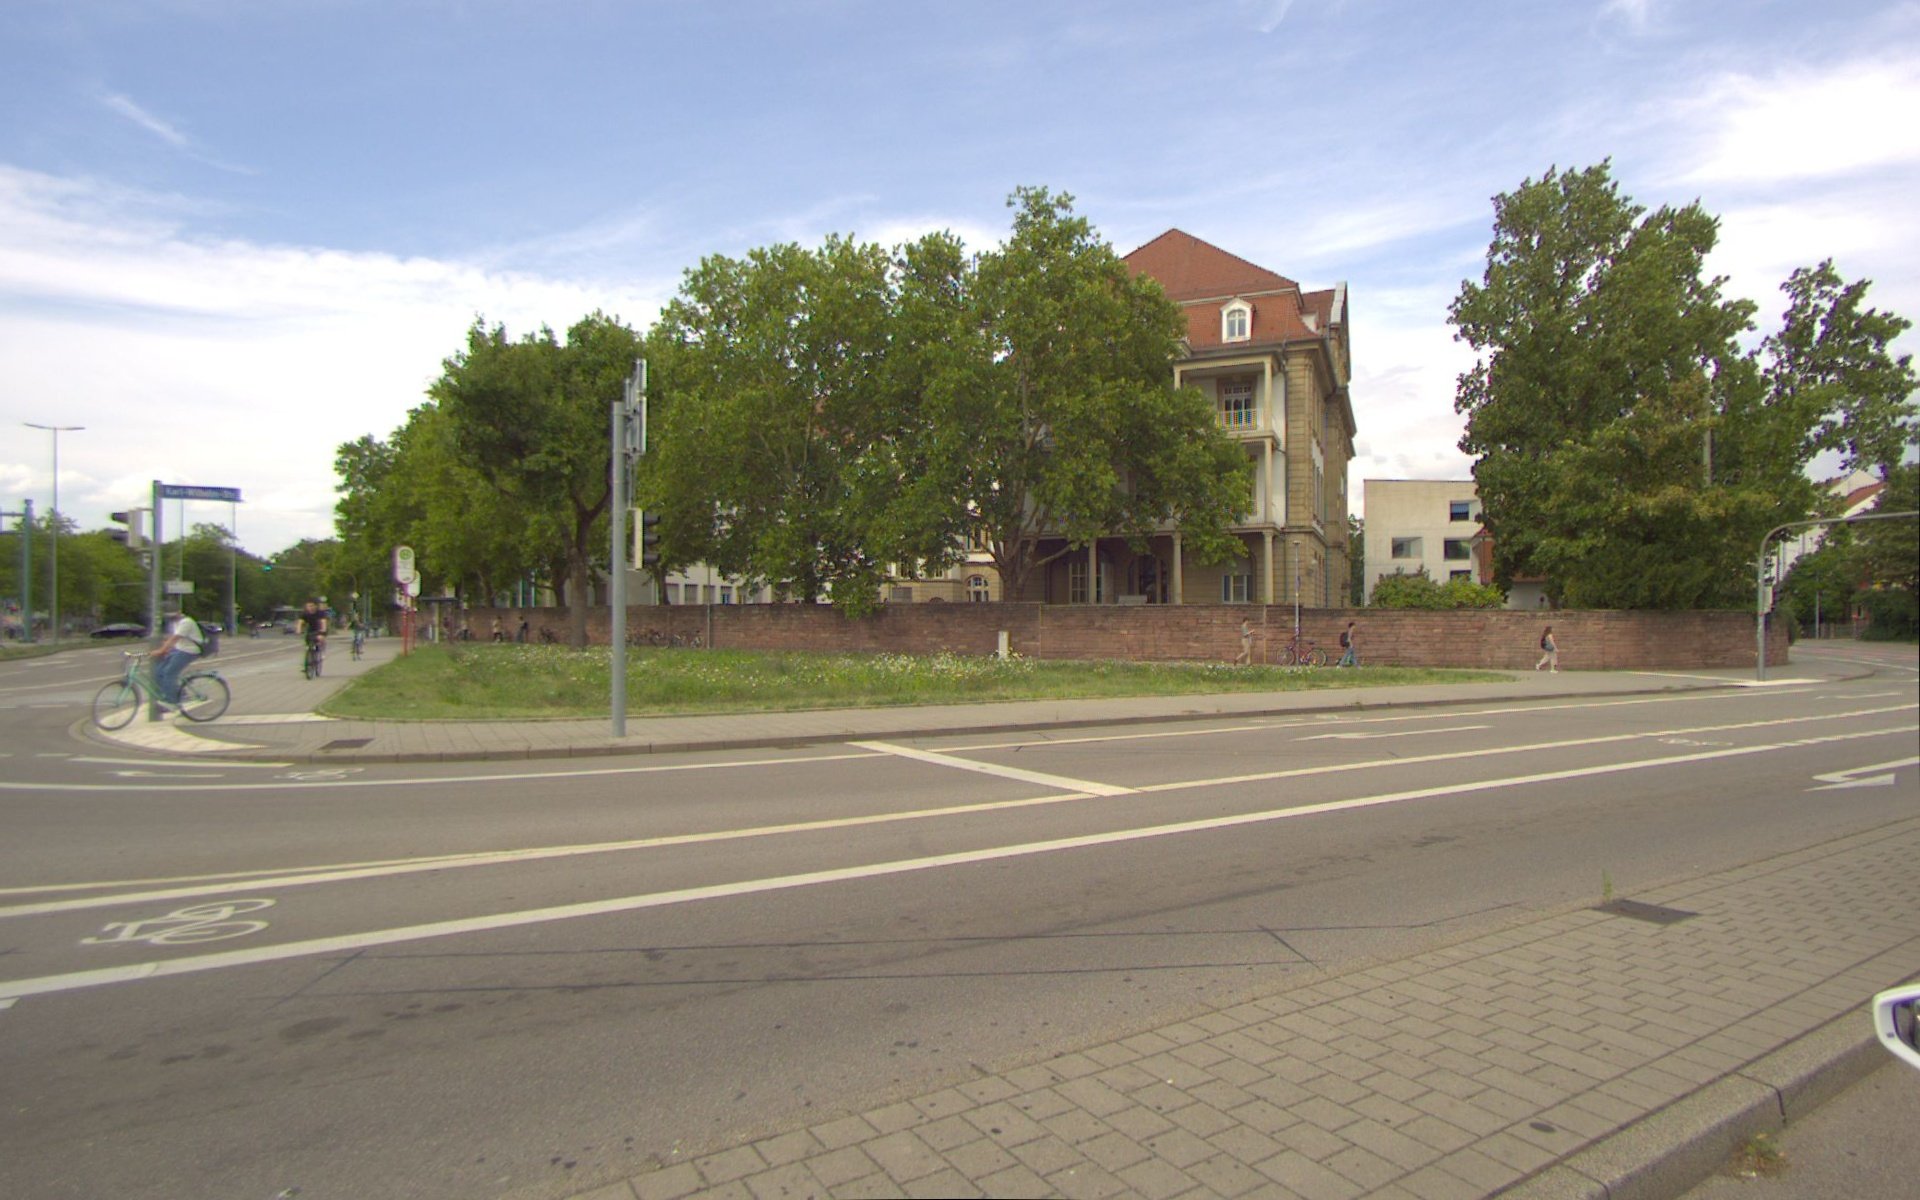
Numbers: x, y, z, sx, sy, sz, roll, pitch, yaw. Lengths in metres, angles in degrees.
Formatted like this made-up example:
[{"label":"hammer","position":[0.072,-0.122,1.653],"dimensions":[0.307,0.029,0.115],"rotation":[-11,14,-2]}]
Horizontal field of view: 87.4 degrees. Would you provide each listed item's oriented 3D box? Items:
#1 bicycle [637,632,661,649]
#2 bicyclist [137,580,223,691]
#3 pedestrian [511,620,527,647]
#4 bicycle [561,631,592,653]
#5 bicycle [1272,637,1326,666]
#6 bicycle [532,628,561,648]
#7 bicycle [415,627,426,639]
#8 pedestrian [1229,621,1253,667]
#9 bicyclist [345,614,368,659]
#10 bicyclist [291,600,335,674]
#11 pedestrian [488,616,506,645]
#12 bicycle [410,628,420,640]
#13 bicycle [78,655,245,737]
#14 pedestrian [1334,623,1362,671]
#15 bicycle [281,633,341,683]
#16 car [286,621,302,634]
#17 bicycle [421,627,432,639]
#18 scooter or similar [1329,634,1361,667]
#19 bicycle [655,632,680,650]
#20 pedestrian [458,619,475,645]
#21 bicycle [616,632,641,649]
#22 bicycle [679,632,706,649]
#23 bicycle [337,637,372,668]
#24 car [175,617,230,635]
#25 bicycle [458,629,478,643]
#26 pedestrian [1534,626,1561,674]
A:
[{"label":"bicycle","position":[-16.664,2.171,53.782],"dimensions":[1.783,0.875,0.357],"rotation":[-1,-4,42]},{"label":"bicyclist","position":[-11.381,0.497,14.671],"dimensions":[0.568,1.576,0.798],"rotation":[1,1,15]},{"label":"pedestrian","position":[-27.417,2.072,62.456],"dimensions":[0.743,1.643,0.566],"rotation":[-1,1,40]},{"label":"bicycle","position":[-22.115,2.415,57.895],"dimensions":[2.067,1.204,0.755],"rotation":[-1,-3,40]},{"label":"bicycle","position":[12.759,1.948,37.831],"dimensions":[1.888,1.018,0.779],"rotation":[-2,1,17]},{"label":"bicycle","position":[-24.899,2.282,60.449],"dimensions":[2.067,1.204,0.755],"rotation":[-1,-3,40]},{"label":"bicycle","position":[-42.875,2.638,79.771],"dimensions":[0.429,0.899,1.558],"rotation":[-4,1,-39]},{"label":"pedestrian","position":[10.535,1.636,37.682],"dimensions":[0.766,1.677,0.577],"rotation":[-1,1,7]},{"label":"bicyclist","position":[-21.741,1.290,36.173],"dimensions":[0.486,1.576,0.795],"rotation":[0,1,-14]},{"label":"bicyclist","position":[-14.187,0.797,22.028],"dimensions":[0.570,1.576,0.795],"rotation":[0,1,-14]},{"label":"pedestrian","position":[-27.196,1.790,59.004],"dimensions":[0.655,1.643,0.751],"rotation":[-1,1,38]},{"label":"bicycle","position":[-44.056,2.760,81.224],"dimensions":[0.429,0.899,1.558],"rotation":[-4,1,-39]},{"label":"bicycle","position":[-11.447,1.342,14.500],"dimensions":[0.496,0.948,1.972],"rotation":[1,1,15]},{"label":"pedestrian","position":[13.913,1.693,36.045],"dimensions":[0.766,1.677,0.577],"rotation":[-2,1,2]},{"label":"bicycle","position":[-14.200,1.245,22.031],"dimensions":[0.497,0.948,1.965],"rotation":[0,1,-14]},{"label":"car","position":[-85.921,3.520,129.604],"dimensions":[1.683,1.500,4.375],"rotation":[-2,0,-34]},{"label":"bicycle","position":[-41.700,2.610,78.520],"dimensions":[0.429,0.899,1.558],"rotation":[-4,1,-39]},{"label":"scooter or similar","position":[14.371,1.875,37.457],"dimensions":[0.513,1.154,1.509],"rotation":[-1,1,45]},{"label":"bicycle","position":[-15.296,2.137,52.530],"dimensions":[1.864,0.875,0.357],"rotation":[-2,-4,43]},{"label":"pedestrian","position":[-32.269,2.090,65.632],"dimensions":[0.655,1.643,0.751],"rotation":[-1,1,38]},{"label":"bicycle","position":[-18.129,2.200,54.858],"dimensions":[1.794,0.875,0.357],"rotation":[-1,-3,39]},{"label":"bicycle","position":[-13.846,2.097,51.893],"dimensions":[1.681,0.875,0.357],"rotation":[-1,-3,36]},{"label":"bicycle","position":[-21.699,1.867,36.021],"dimensions":[0.497,0.948,1.965],"rotation":[0,1,-14]},{"label":"car","position":[-70.915,2.429,94.039],"dimensions":[4.046,1.509,1.791],"rotation":[1,-1,10]},{"label":"bicycle","position":[-33.880,2.453,69.137],"dimensions":[1.554,0.899,0.658],"rotation":[-2,1,42]},{"label":"pedestrian","position":[21.327,1.799,36.462],"dimensions":[0.619,1.677,0.530],"rotation":[-2,1,-11]}]
